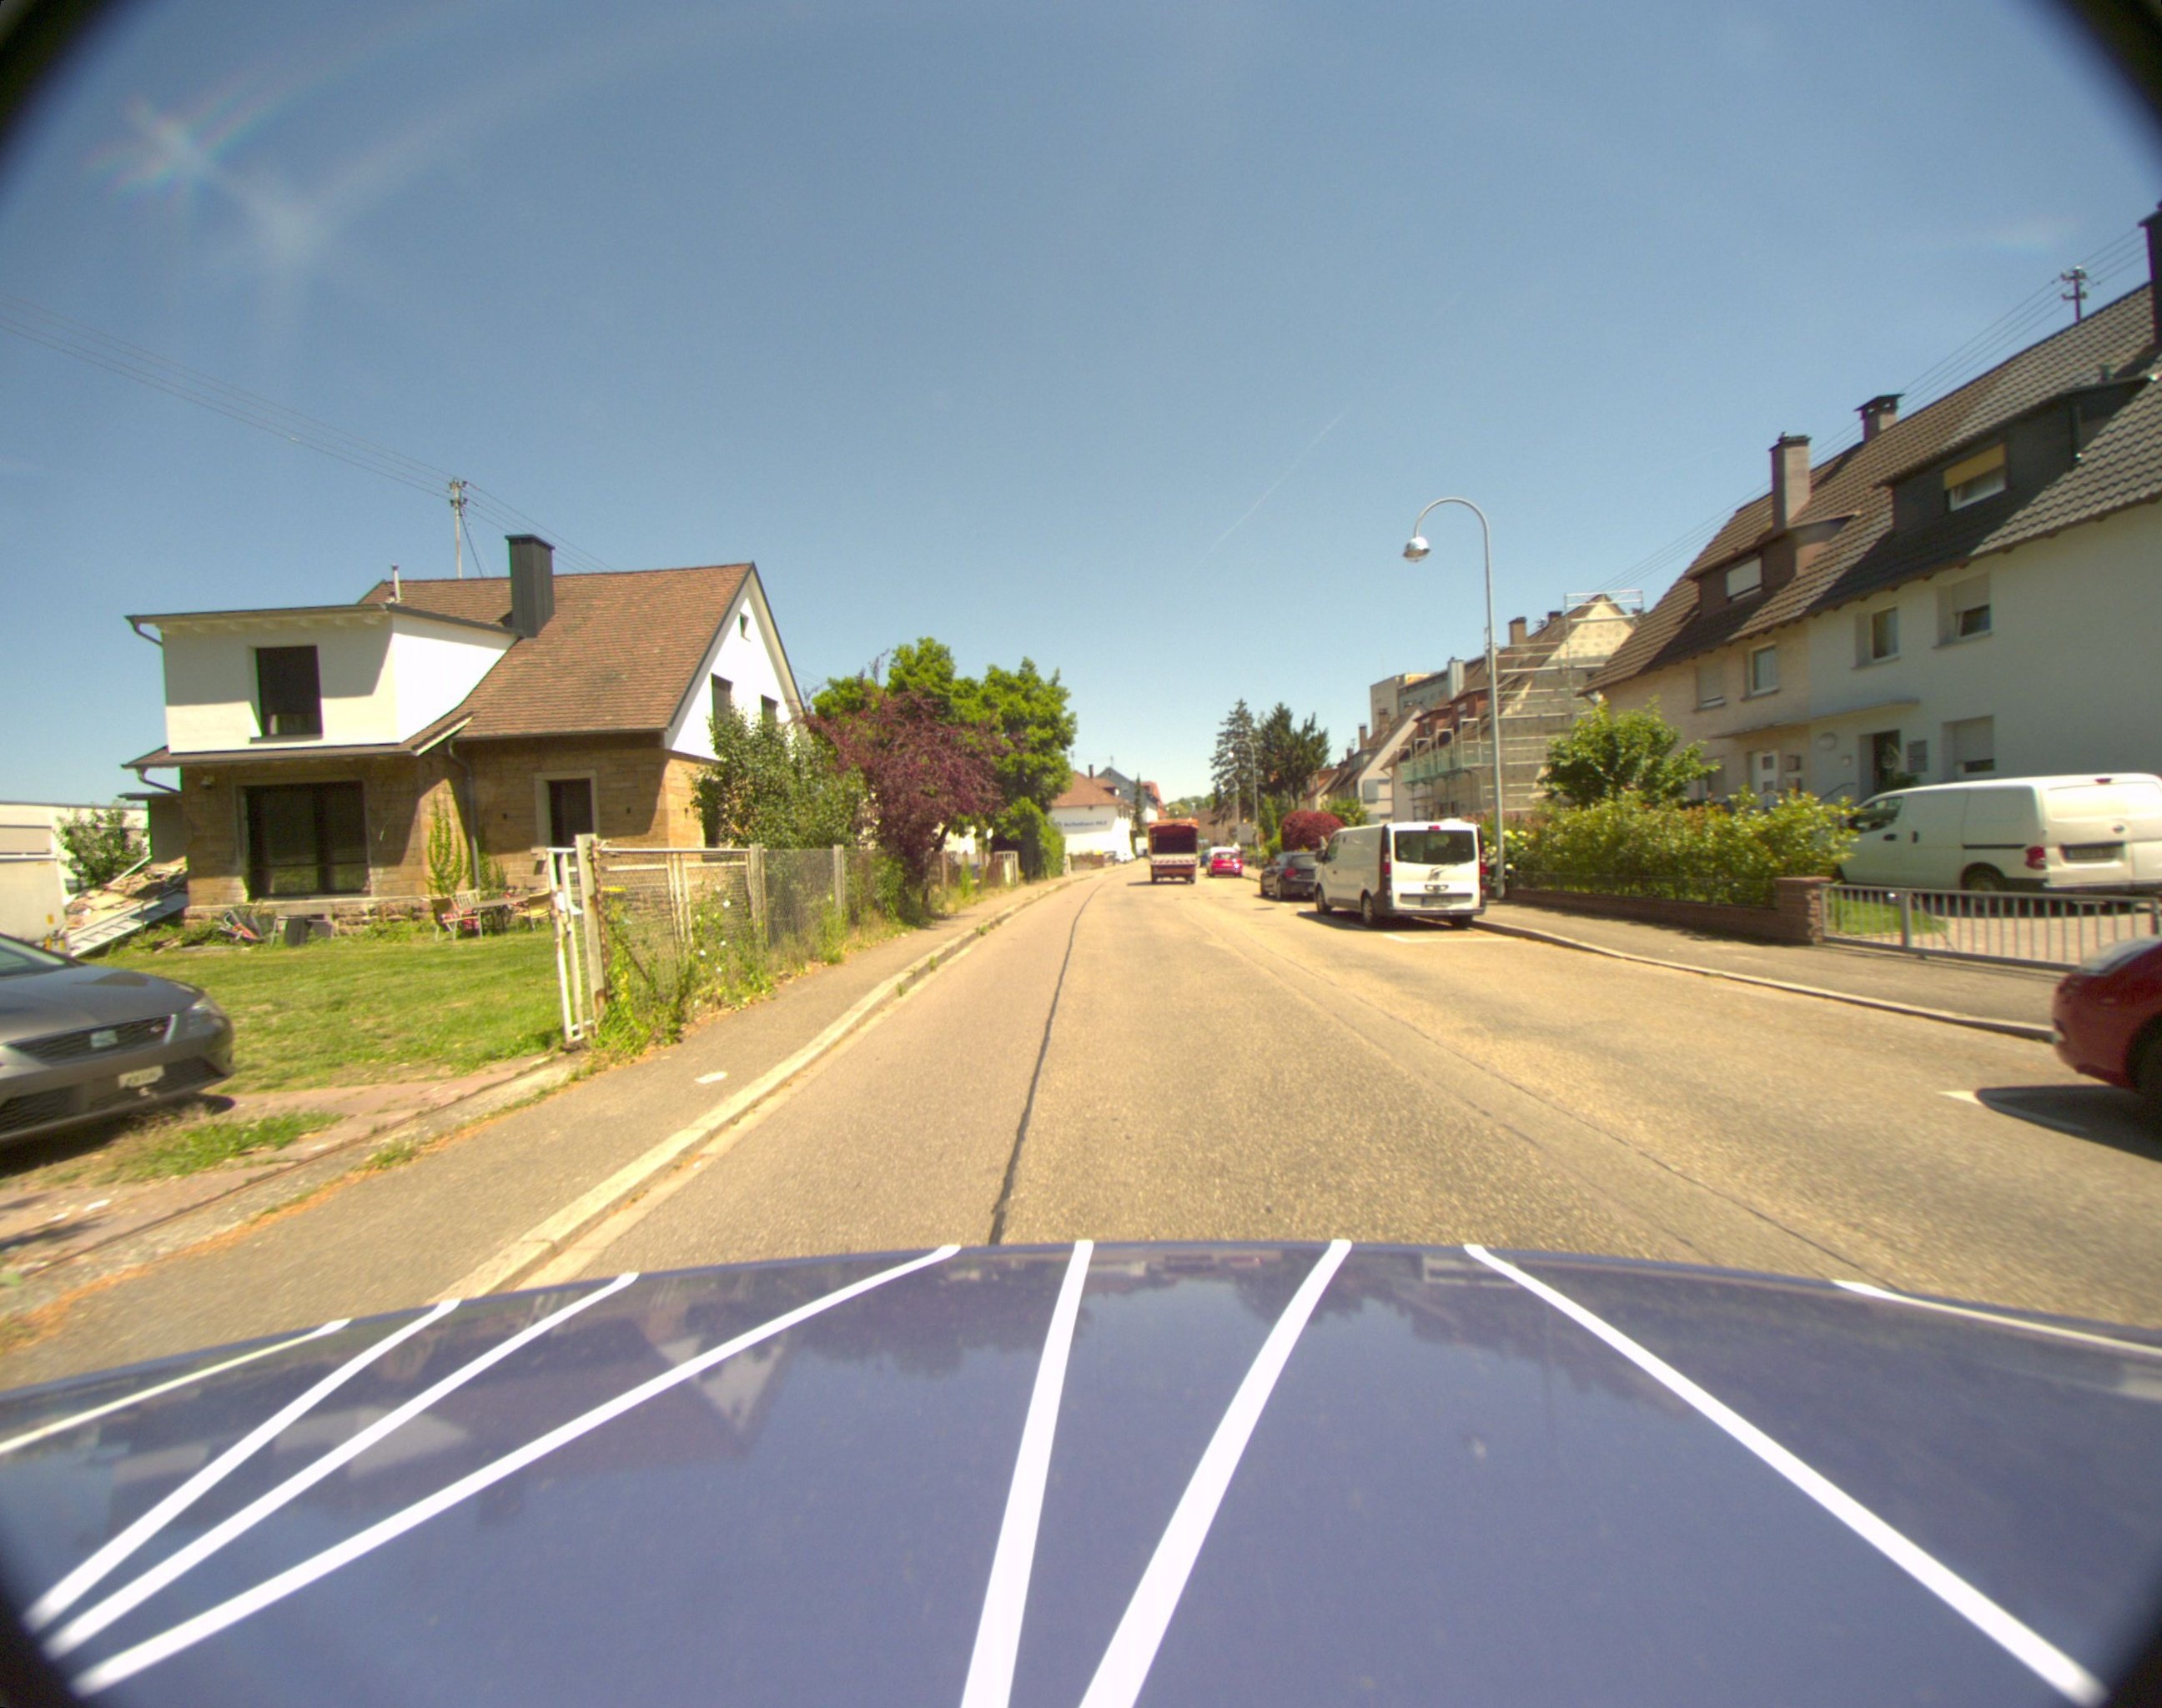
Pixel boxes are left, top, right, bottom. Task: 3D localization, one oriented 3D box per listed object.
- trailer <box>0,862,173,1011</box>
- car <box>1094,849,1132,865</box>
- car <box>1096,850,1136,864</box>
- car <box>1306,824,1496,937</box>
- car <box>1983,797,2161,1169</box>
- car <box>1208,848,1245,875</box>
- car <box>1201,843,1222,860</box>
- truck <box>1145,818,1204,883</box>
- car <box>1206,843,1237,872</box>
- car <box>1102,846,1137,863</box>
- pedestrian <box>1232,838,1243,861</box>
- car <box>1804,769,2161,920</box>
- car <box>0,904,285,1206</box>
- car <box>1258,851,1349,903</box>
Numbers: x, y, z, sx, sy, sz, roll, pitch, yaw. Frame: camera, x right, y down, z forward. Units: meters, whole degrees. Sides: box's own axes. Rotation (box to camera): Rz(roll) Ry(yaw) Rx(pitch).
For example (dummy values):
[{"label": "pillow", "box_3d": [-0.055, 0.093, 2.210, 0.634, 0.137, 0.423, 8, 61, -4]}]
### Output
[{"label": "trailer", "box_3d": [-17.182, 1.278, 11.741, 3.994, 1.926, 2.082, -3, 5, 9]}, {"label": "car", "box_3d": [3.872, 0.411, 92.389, 4.293, 1.539, 1.759, -4, 1, 44]}, {"label": "car", "box_3d": [4.406, 0.362, 95.281, 4.648, 1.400, 1.770, -5, 0, 13]}, {"label": "car", "box_3d": [6.209, 0.442, 15.477, 1.891, 1.870, 4.981, -2, 0, 2]}, {"label": "car", "box_3d": [5.840, 0.591, 1.956, 1.762, 1.717, 4.457, -1, 0, 0]}, {"label": "car", "box_3d": [8.149, 0.383, 42.924, 1.764, 1.469, 4.060, 0, 1, 7]}, {"label": "car", "box_3d": [11.451, -0.232, 66.558, 1.772, 1.430, 4.365, 0, 0, 10]}, {"label": "truck", "box_3d": [4.363, -0.170, 36.209, 2.378, 2.813, 5.659, -1, 1, 3]}, {"label": "car", "box_3d": [8.875, 0.194, 48.072, 1.726, 1.726, 3.889, 0, 1, 8]}, {"label": "car", "box_3d": [5.020, 0.084, 97.766, 4.300, 1.820, 1.740, -5, 0, 3]}, {"label": "pedestrian", "box_3d": [13.383, -0.419, 65.059, 0.690, 1.878, 1.019, -7, 1, 13]}, {"label": "car", "box_3d": [13.699, -0.167, 11.708, 1.718, 1.859, 4.002, -4, 1, 10]}, {"label": "car", "box_3d": [-7.163, 1.107, 4.137, 3.870, 1.372, 1.767, -3, 1, 4]}, {"label": "car", "box_3d": [6.531, 0.621, 22.757, 1.702, 1.376, 4.236, 0, 0, 3]}]
